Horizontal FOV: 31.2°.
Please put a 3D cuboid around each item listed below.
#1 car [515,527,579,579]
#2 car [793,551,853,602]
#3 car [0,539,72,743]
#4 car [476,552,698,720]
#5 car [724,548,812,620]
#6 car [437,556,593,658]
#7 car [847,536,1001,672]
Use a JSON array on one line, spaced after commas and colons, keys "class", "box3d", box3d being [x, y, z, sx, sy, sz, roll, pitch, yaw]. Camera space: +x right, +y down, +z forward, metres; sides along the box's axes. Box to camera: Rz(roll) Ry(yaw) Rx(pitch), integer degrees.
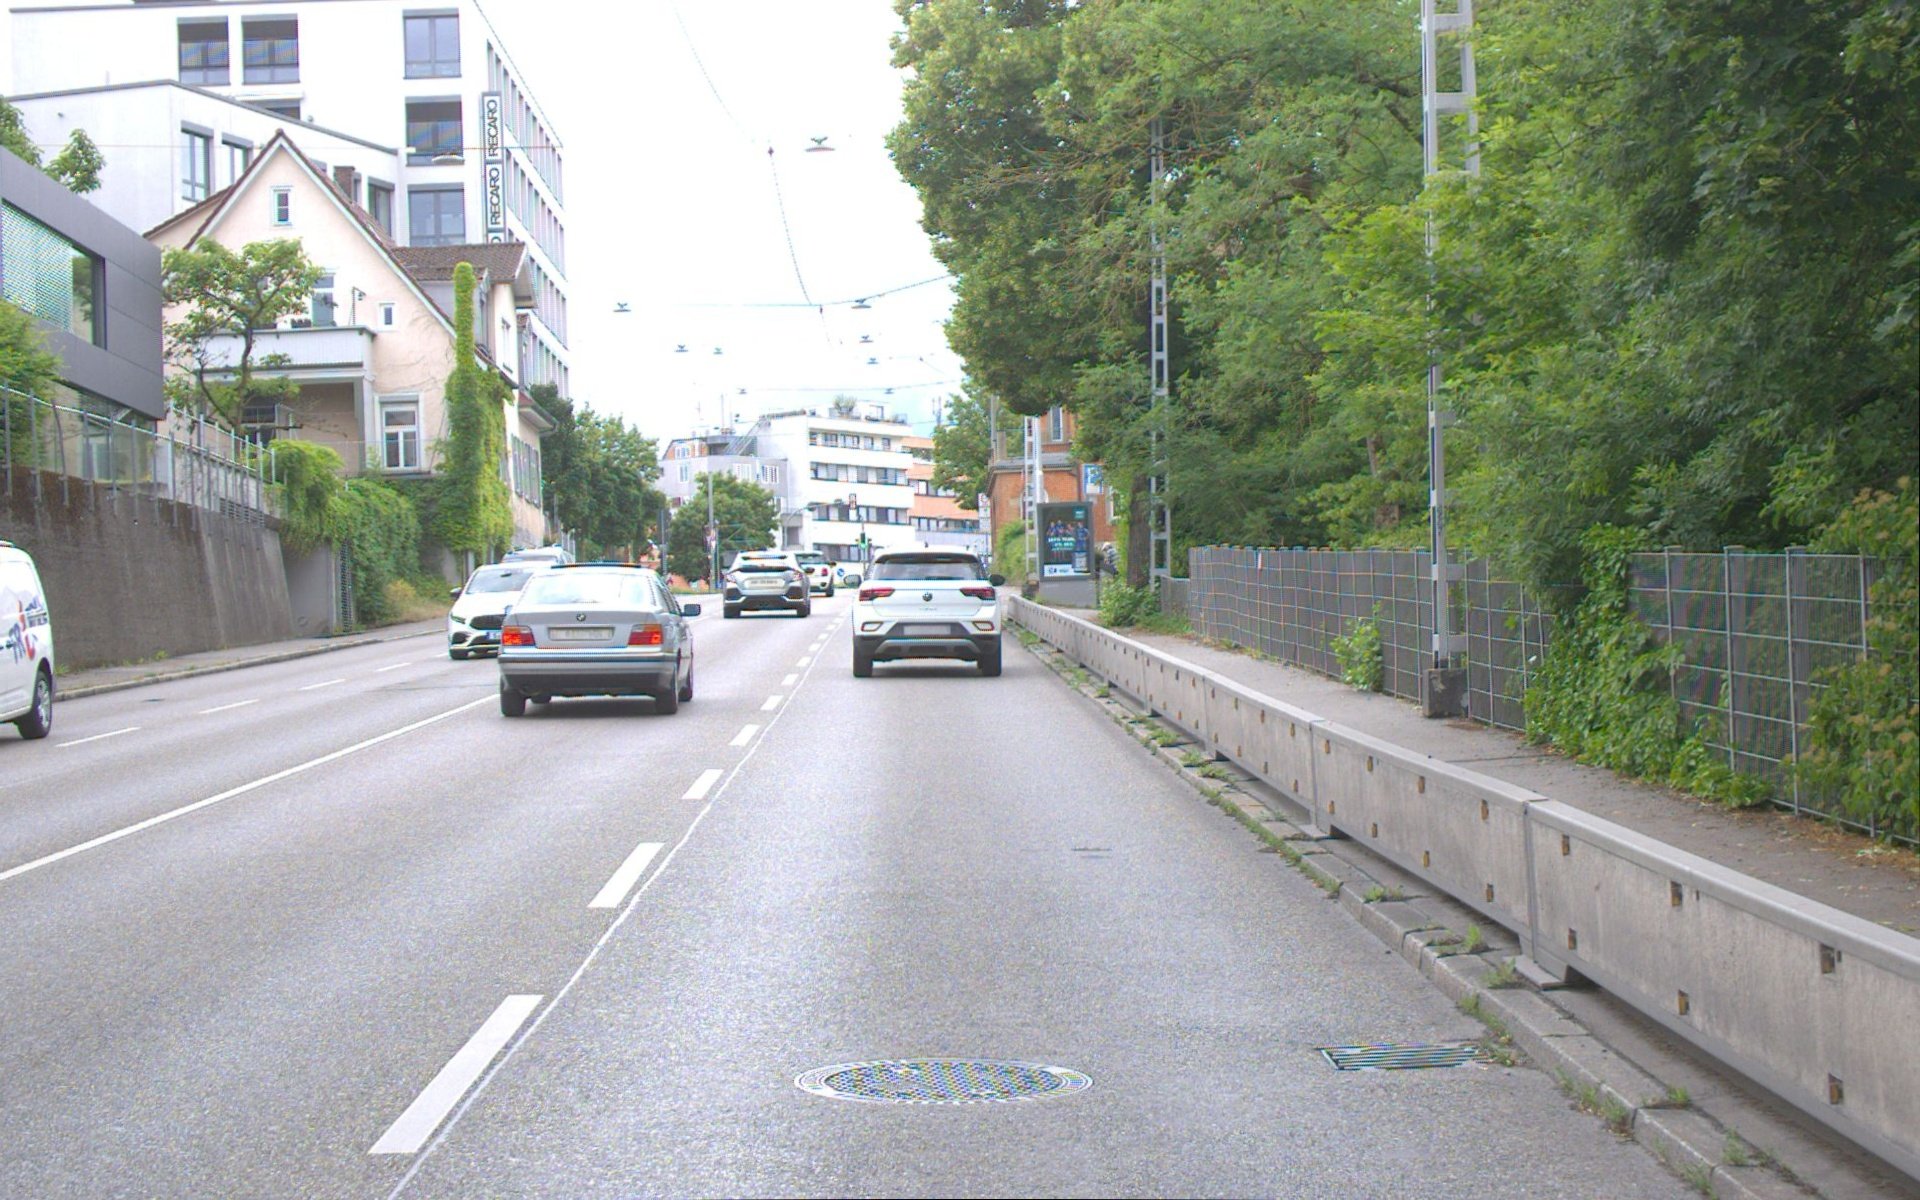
[{"class": "car", "box3d": [-14.140, -1.608, 117.890, 1.993, 1.695, 4.001, -2, 1, -5]}, {"class": "car", "box3d": [-4.177, -0.731, 105.240, 1.706, 1.459, 4.000, -1, 1, -1]}, {"class": "car", "box3d": [-9.265, 0.396, 30.070, 1.732, 1.782, 4.867, -3, 1, -1]}, {"class": "car", "box3d": [-3.488, 0.293, 32.765, 1.706, 1.459, 4.000, -1, 1, -1]}, {"class": "car", "box3d": [-4.139, -0.366, 74.429, 1.706, 1.459, 4.000, -1, 1, -1]}, {"class": "car", "box3d": [-6.800, 0.080, 52.892, 1.815, 1.382, 4.463, -3, 1, -1]}, {"class": "car", "box3d": [-0.482, 0.023, 41.835, 1.780, 1.573, 4.000, 0, 1, -2]}]
